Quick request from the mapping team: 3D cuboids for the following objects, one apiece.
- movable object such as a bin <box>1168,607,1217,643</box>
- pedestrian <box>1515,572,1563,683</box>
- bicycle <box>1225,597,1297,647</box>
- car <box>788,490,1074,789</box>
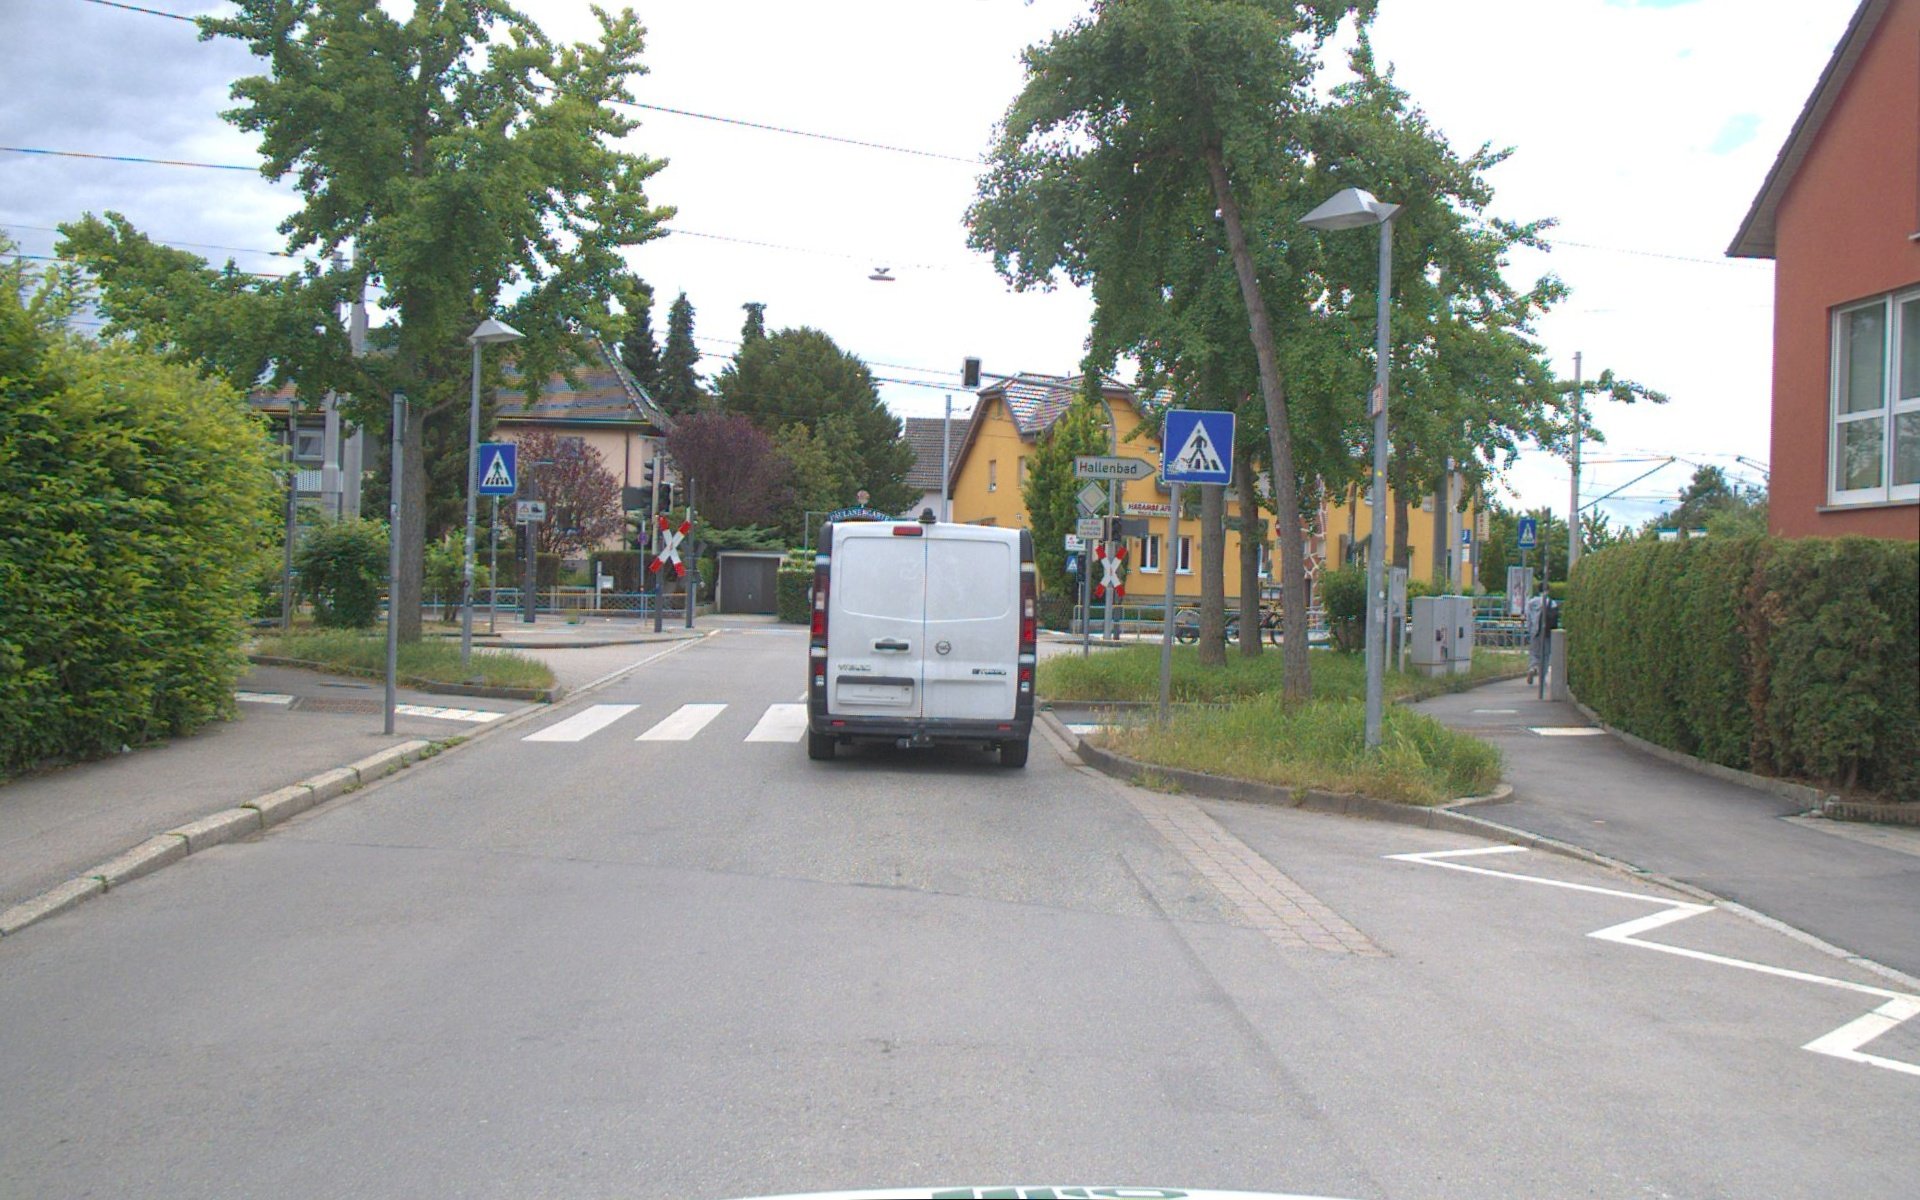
[{"bbox_3d":[5.709,0.608,40.608,1.070,0.839,0.579,2,0,-7],"label":"movable object such as a bin"},{"bbox_3d":[10.366,0.476,29.587,0.613,1.948,0.828,1,0,34],"label":"pedestrian"},{"bbox_3d":[7.406,0.542,40.674,1.656,1.176,0.465,2,0,-11],"label":"bicycle"},{"bbox_3d":[-0.393,0.270,15.163,2.075,2.171,5.436,2,0,-4],"label":"car"}]
